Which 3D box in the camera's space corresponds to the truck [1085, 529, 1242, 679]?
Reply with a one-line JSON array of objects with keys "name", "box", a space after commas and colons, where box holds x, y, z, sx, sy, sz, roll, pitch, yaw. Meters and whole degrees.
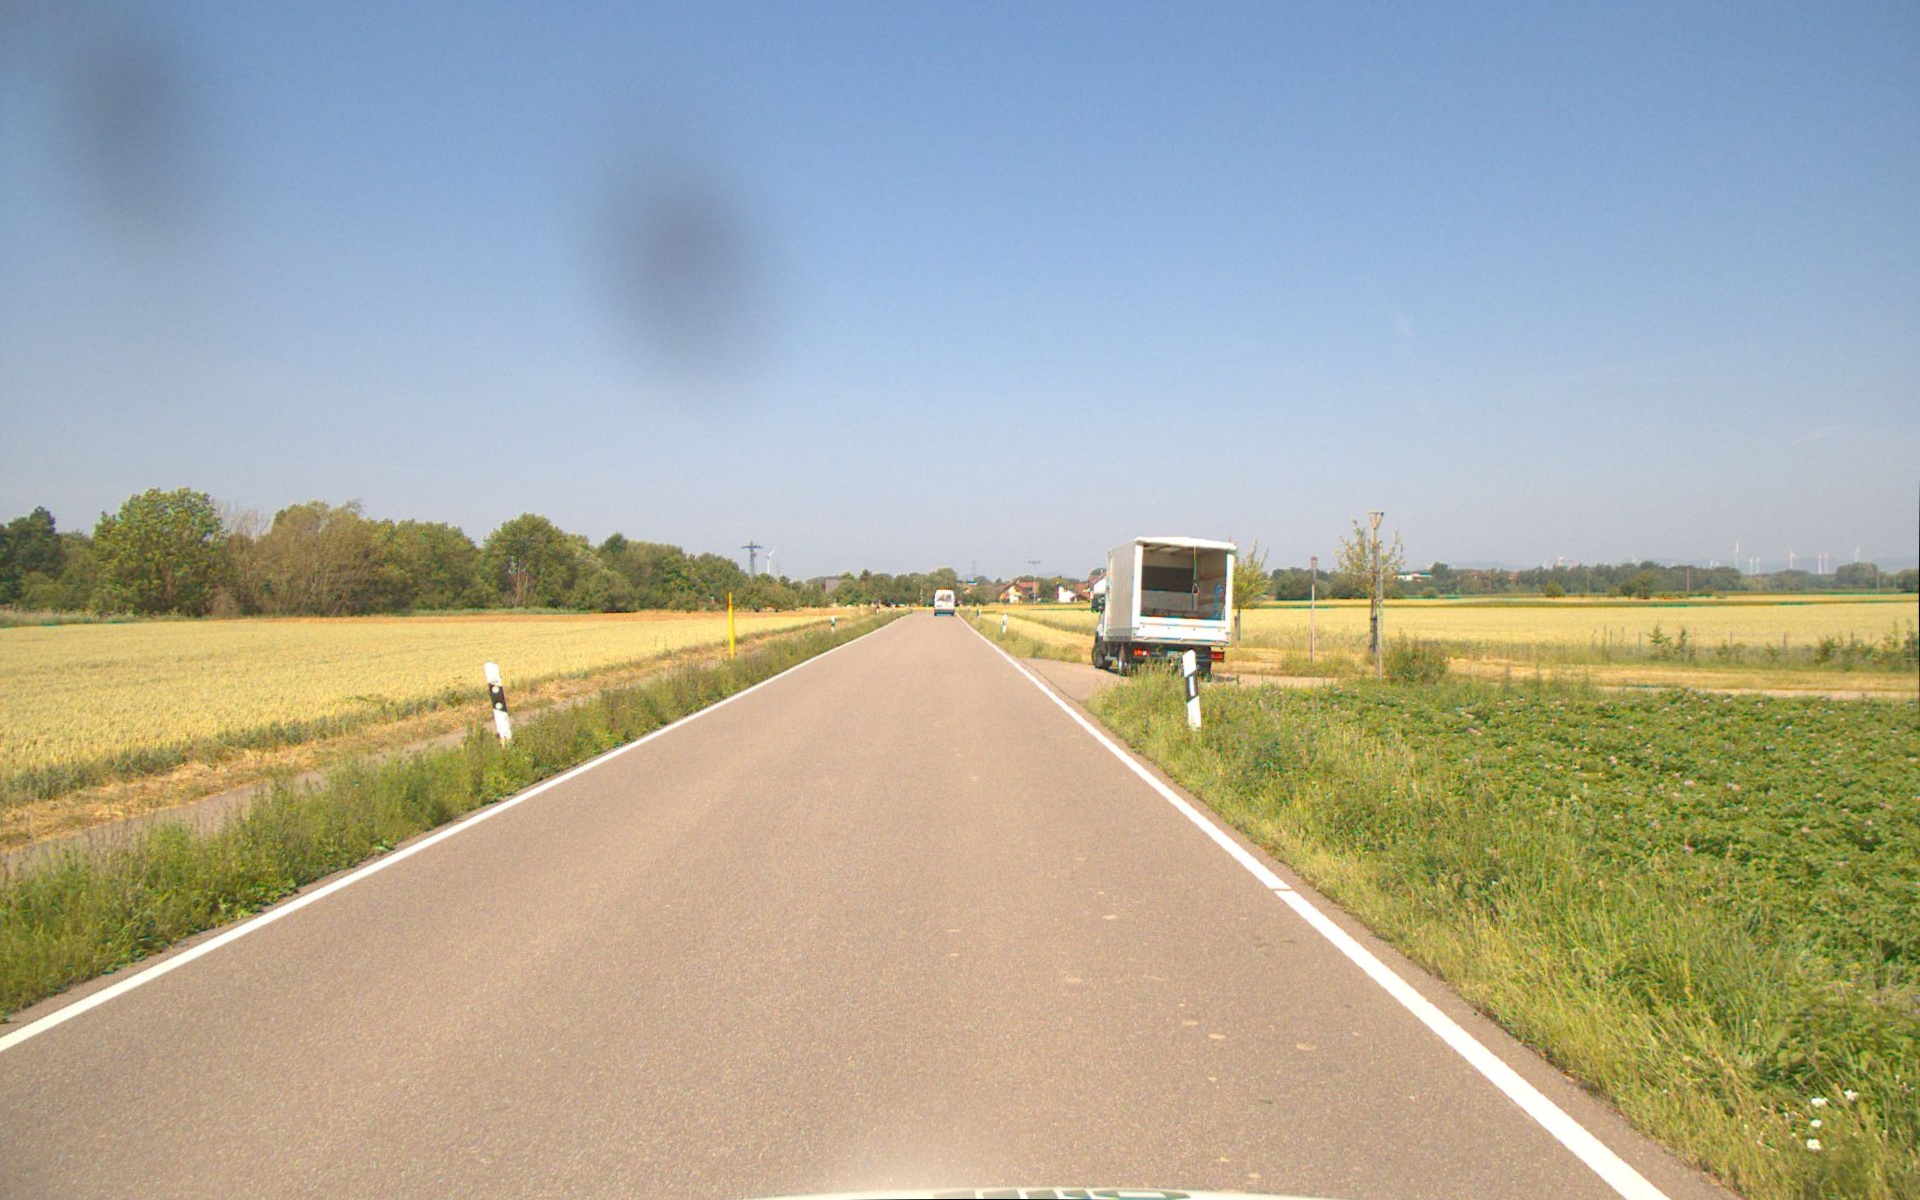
[{"name": "truck", "box": [4.449, 0.095, 37.497, 2.289, 2.994, 7.005, 2, 0, -3]}]

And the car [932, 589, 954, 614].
[{"name": "car", "box": [-1.668, 0.137, 162.537, 2.064, 2.344, 5.494, 1, 0, -1]}]

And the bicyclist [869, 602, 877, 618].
[{"name": "bicyclist", "box": [-9.524, 1.137, 181.492, 0.744, 1.702, 1.088, -2, 0, -1]}]

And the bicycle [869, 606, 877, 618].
[{"name": "bicycle", "box": [-9.512, 1.353, 181.450, 0.744, 1.257, 2.393, -2, 0, -1]}]
